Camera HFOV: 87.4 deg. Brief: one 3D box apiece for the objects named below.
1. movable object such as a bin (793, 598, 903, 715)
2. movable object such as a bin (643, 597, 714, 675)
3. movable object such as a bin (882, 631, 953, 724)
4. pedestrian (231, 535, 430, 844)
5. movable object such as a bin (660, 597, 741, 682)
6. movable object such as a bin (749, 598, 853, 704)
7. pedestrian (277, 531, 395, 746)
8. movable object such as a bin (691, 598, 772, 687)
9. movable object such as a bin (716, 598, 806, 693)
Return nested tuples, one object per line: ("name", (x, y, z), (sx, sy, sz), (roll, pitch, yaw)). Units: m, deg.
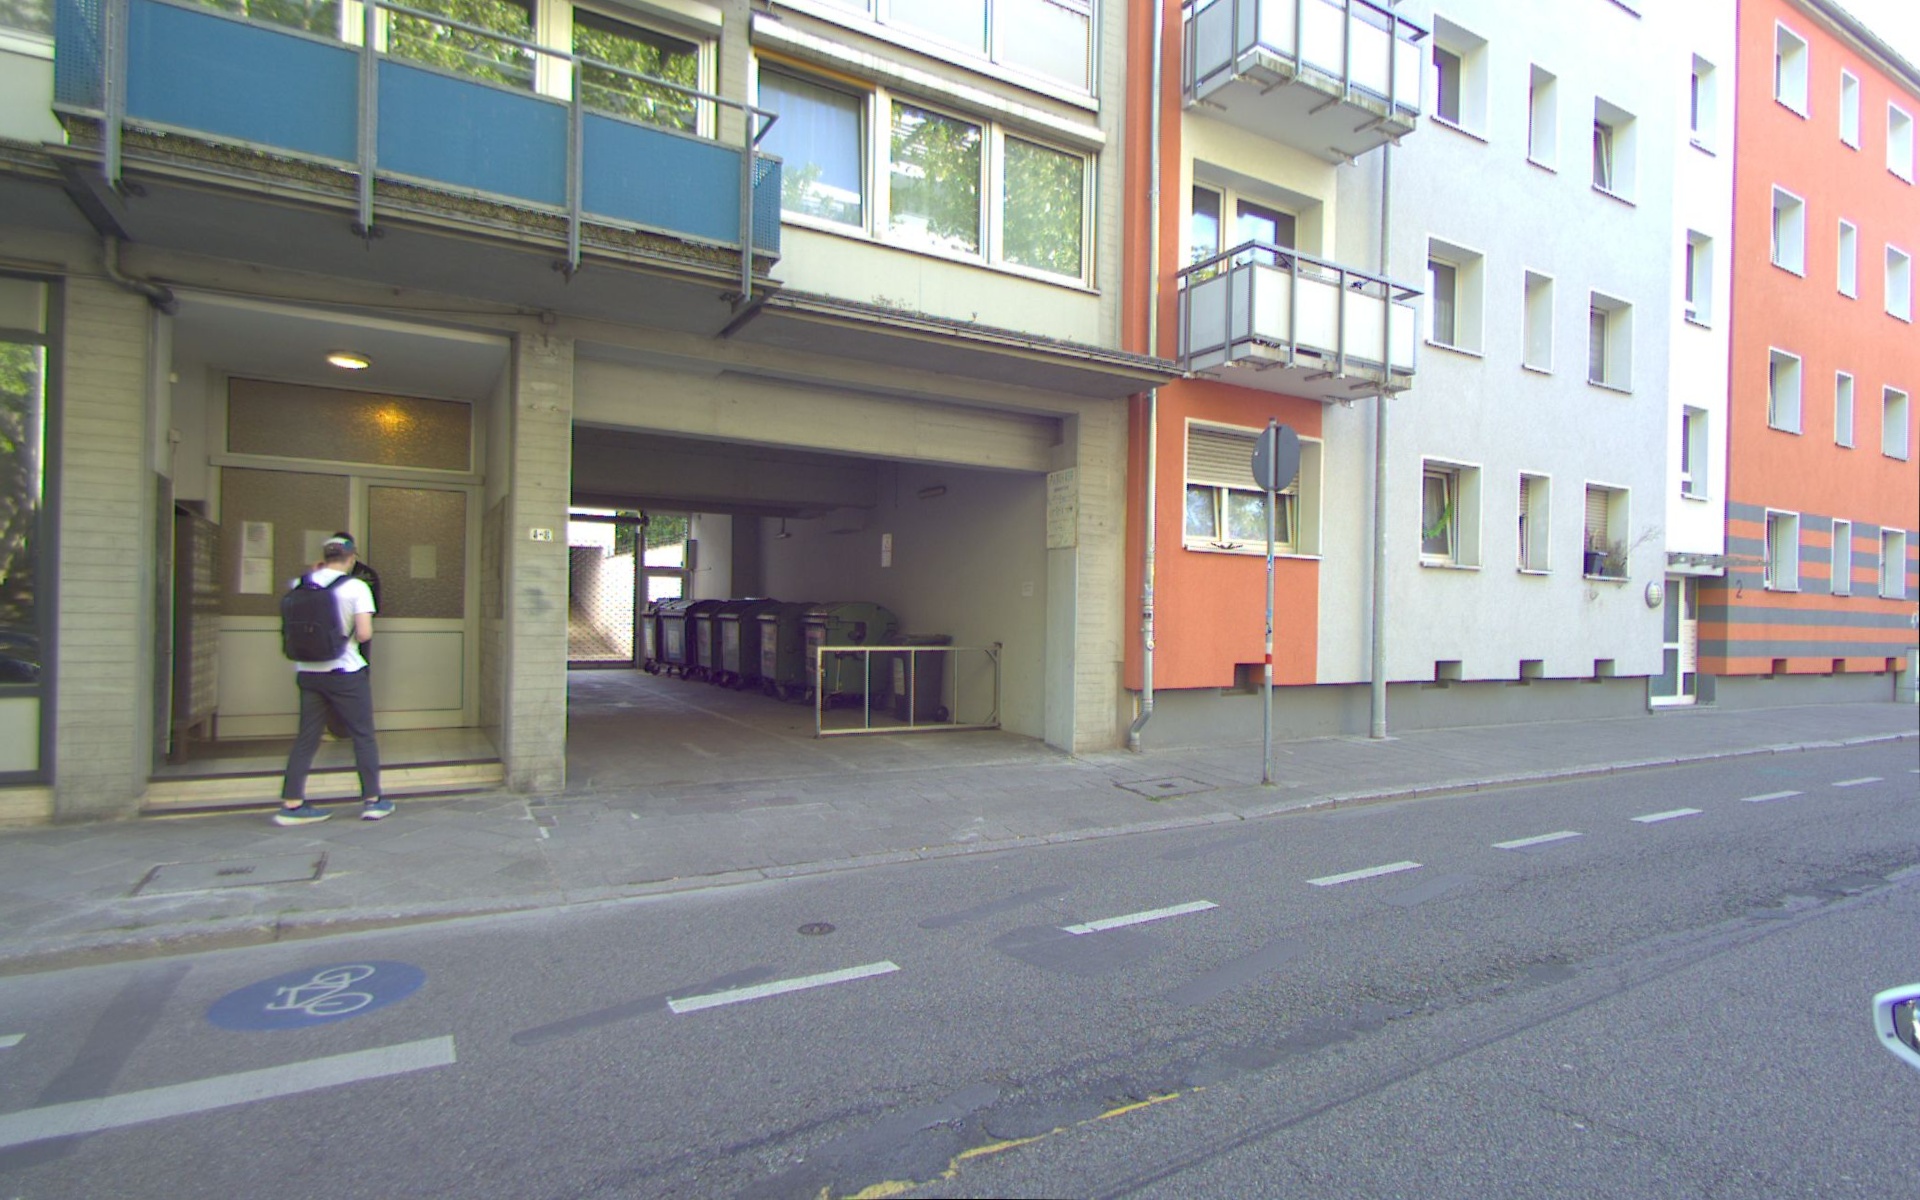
("movable object such as a bin", (-1.550, 0.742, 13.774), (1.086, 1.503, 1.251), (1, 0, -30))
("movable object such as a bin", (-5.595, 0.705, 19.958), (1.167, 1.503, 0.819), (1, 0, -30))
("movable object such as a bin", (-0.527, 0.943, 12.441), (0.687, 1.094, 0.579), (1, 0, -30))
("pedestrian", (-4.017, 0.523, 6.448), (0.590, 1.824, 0.879), (2, 1, 24))
("movable object such as a bin", (-4.847, 0.712, 18.691), (1.167, 1.503, 1.215), (1, 0, -30))
("movable object such as a bin", (-2.407, 0.733, 15.151), (1.167, 1.503, 1.252), (1, 0, -30))
("pedestrian", (-5.247, 0.316, 8.474), (0.537, 1.736, 0.662), (1, 0, 3))
("movable object such as a bin", (-4.019, 0.723, 17.619), (1.080, 1.503, 1.159), (1, 0, -30))
("movable object such as a bin", (-3.302, 0.725, 16.638), (1.167, 1.503, 1.073), (1, 0, -30))
